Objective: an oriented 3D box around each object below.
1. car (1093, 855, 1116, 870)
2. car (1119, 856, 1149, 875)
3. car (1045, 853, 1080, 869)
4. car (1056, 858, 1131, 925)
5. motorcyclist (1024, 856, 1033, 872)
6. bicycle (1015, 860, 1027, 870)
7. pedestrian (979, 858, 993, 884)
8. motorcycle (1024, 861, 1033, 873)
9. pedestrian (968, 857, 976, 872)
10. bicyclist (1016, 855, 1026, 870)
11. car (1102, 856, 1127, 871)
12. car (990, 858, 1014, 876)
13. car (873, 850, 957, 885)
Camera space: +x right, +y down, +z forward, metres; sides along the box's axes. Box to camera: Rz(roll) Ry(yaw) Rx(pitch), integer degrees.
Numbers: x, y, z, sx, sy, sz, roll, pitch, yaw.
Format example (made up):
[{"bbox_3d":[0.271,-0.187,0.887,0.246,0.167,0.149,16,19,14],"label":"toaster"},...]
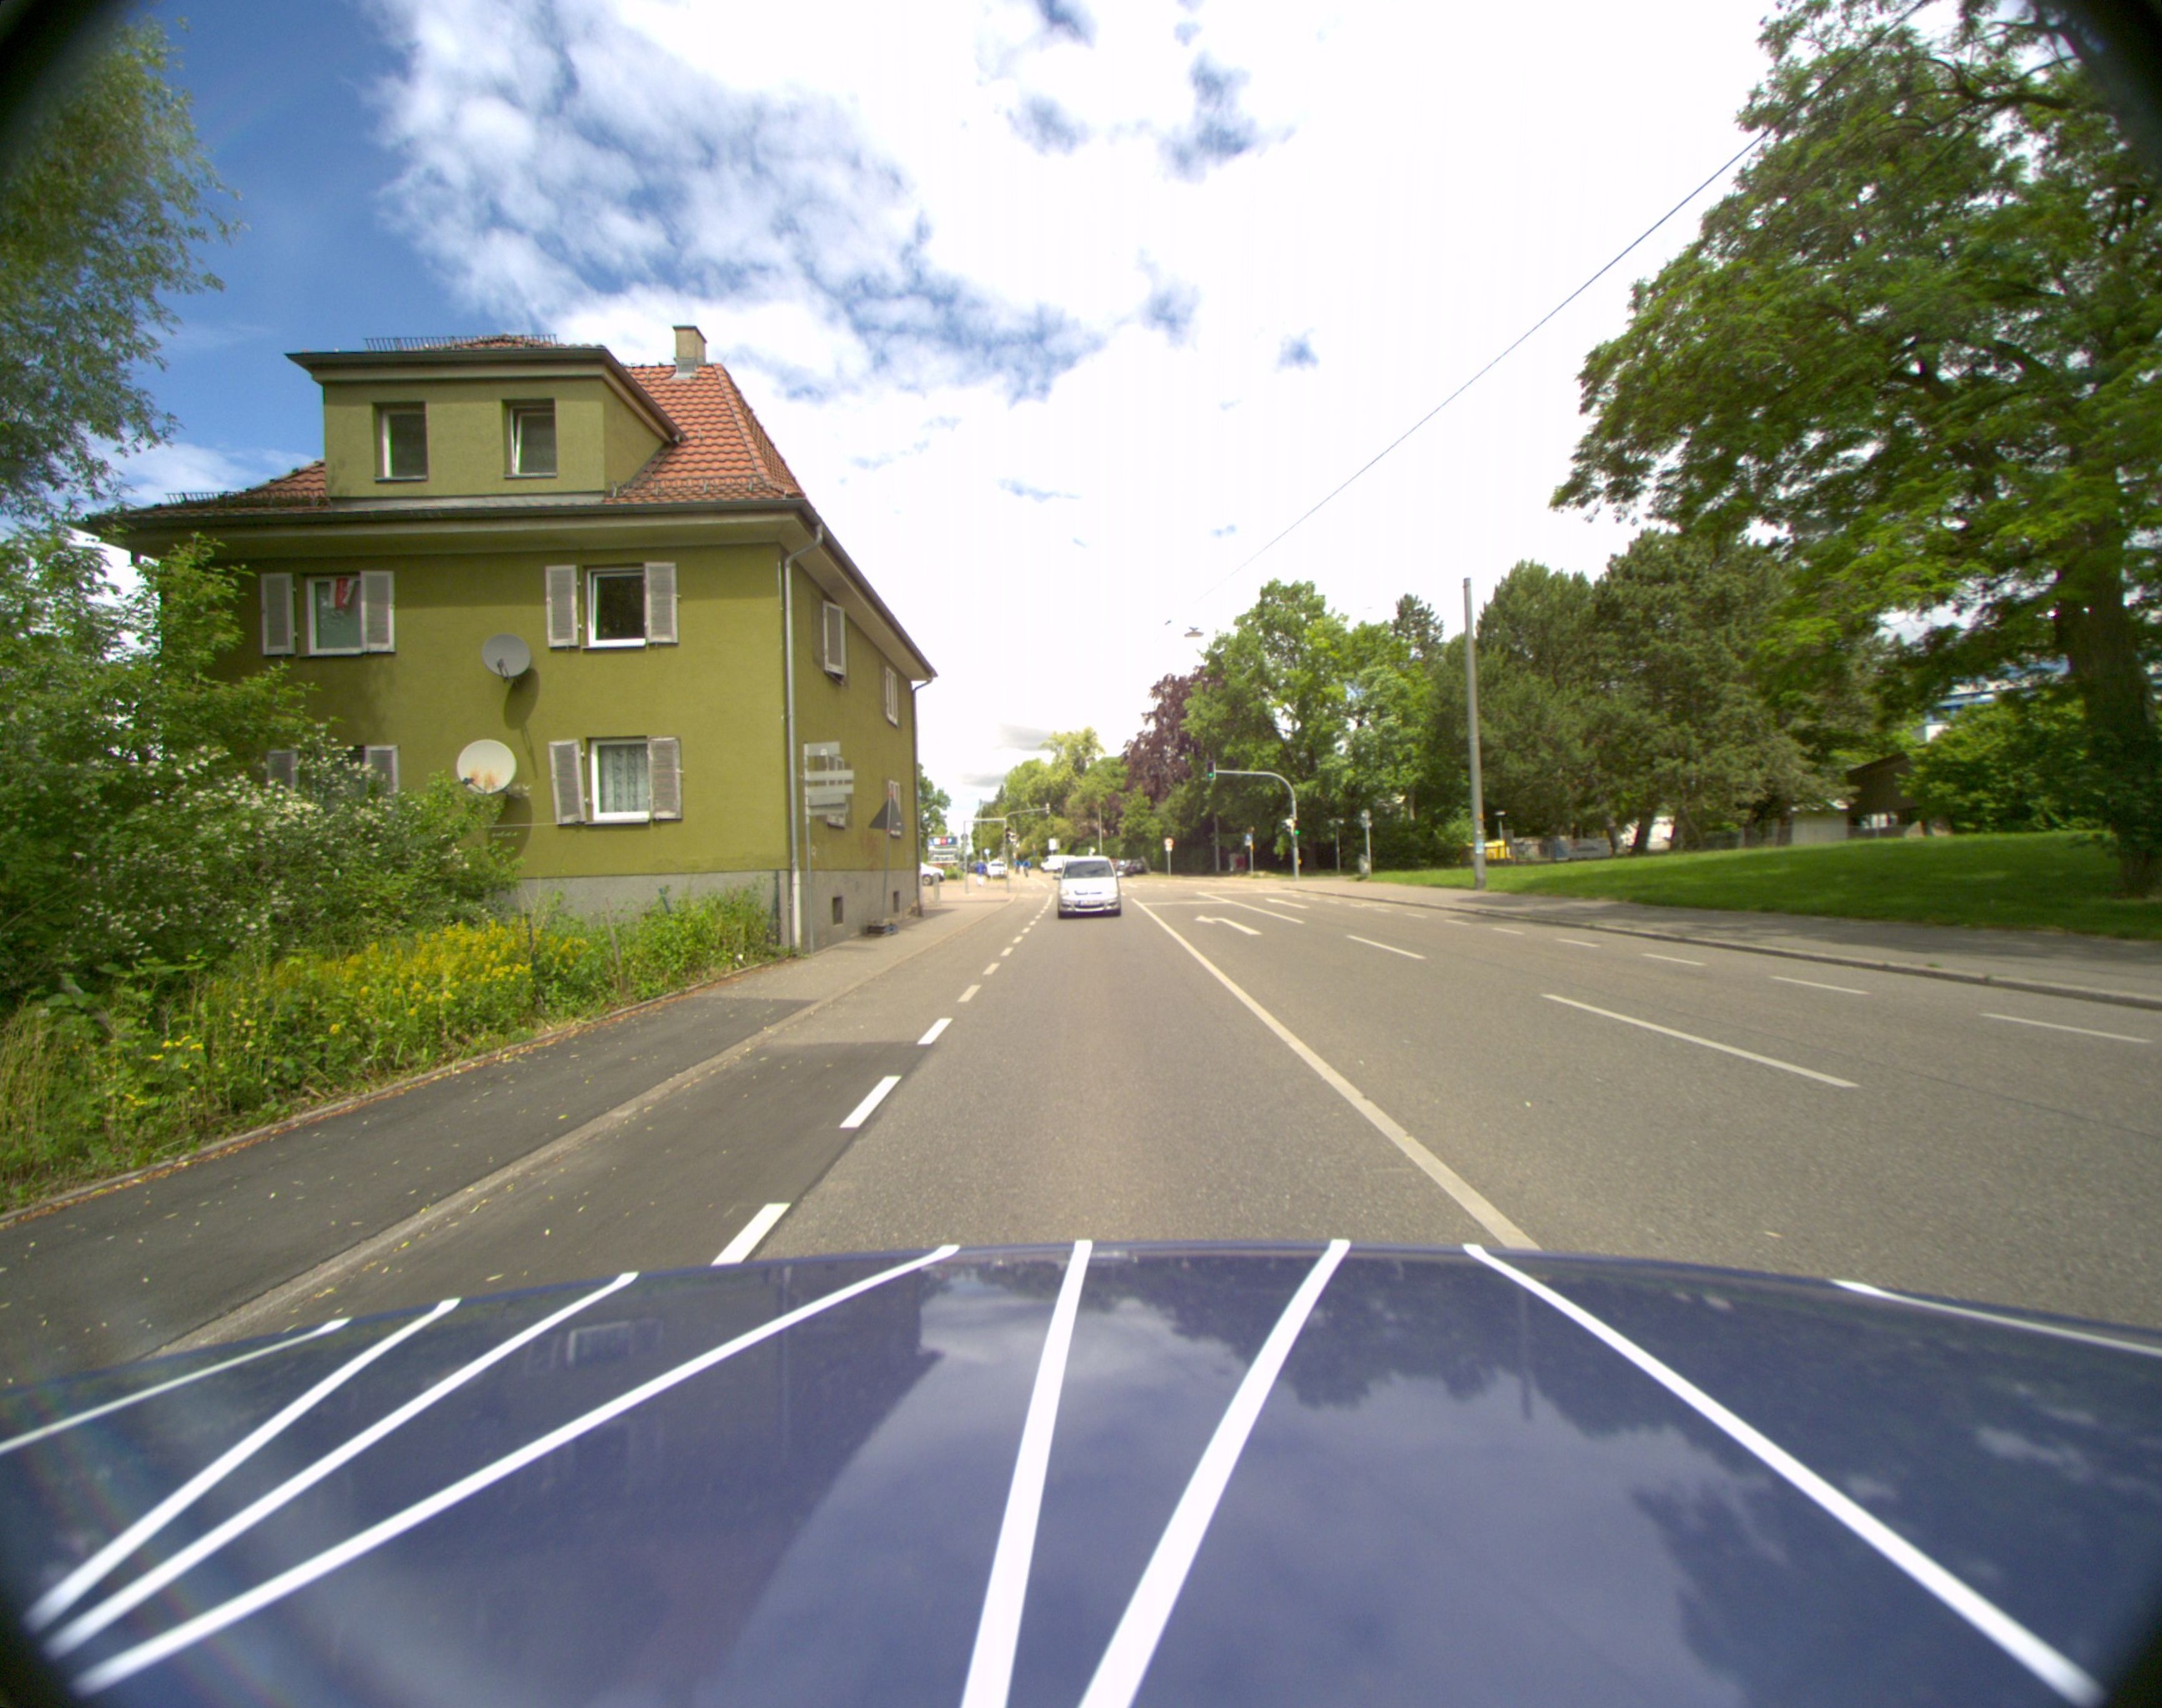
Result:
[{"bbox_3d":[2.484,0.922,82.187,1.900,1.501,3.997,0,1,-7],"label":"car"},{"bbox_3d":[4.697,1.001,67.521,1.900,1.501,3.997,0,1,-7],"label":"car"},{"bbox_3d":[-2.087,0.753,85.643,1.803,1.787,4.491,-1,1,-34],"label":"car"},{"bbox_3d":[0.322,0.932,20.452,1.780,1.519,4.000,-2,0,1],"label":"car"},{"bbox_3d":[-5.114,0.978,74.014,0.837,1.547,0.650,0,1,-1],"label":"motorcyclist"},{"bbox_3d":[-6.892,1.292,87.480,0.815,1.101,1.797,-4,0,-21],"label":"bicycle"},{"bbox_3d":[-5.762,1.044,46.151,0.729,1.543,1.056,-2,0,-10],"label":"pedestrian"},{"bbox_3d":[-5.101,1.264,73.985,0.837,1.101,1.800,0,0,-1],"label":"motorcycle"},{"bbox_3d":[-11.776,1.123,81.953,0.723,1.651,0.777,-4,1,-4],"label":"pedestrian"},{"bbox_3d":[-6.902,0.979,87.446,0.808,1.599,0.771,-4,1,-21],"label":"bicyclist"},{"bbox_3d":[3.361,0.944,77.203,1.900,1.501,3.997,0,1,-7],"label":"car"},{"bbox_3d":[-7.116,1.176,69.058,1.799,1.501,3.999,0,0,-1],"label":"car"},{"bbox_3d":[-9.806,0.794,45.064,4.364,1.983,2.001,-1,1,9],"label":"car"}]
